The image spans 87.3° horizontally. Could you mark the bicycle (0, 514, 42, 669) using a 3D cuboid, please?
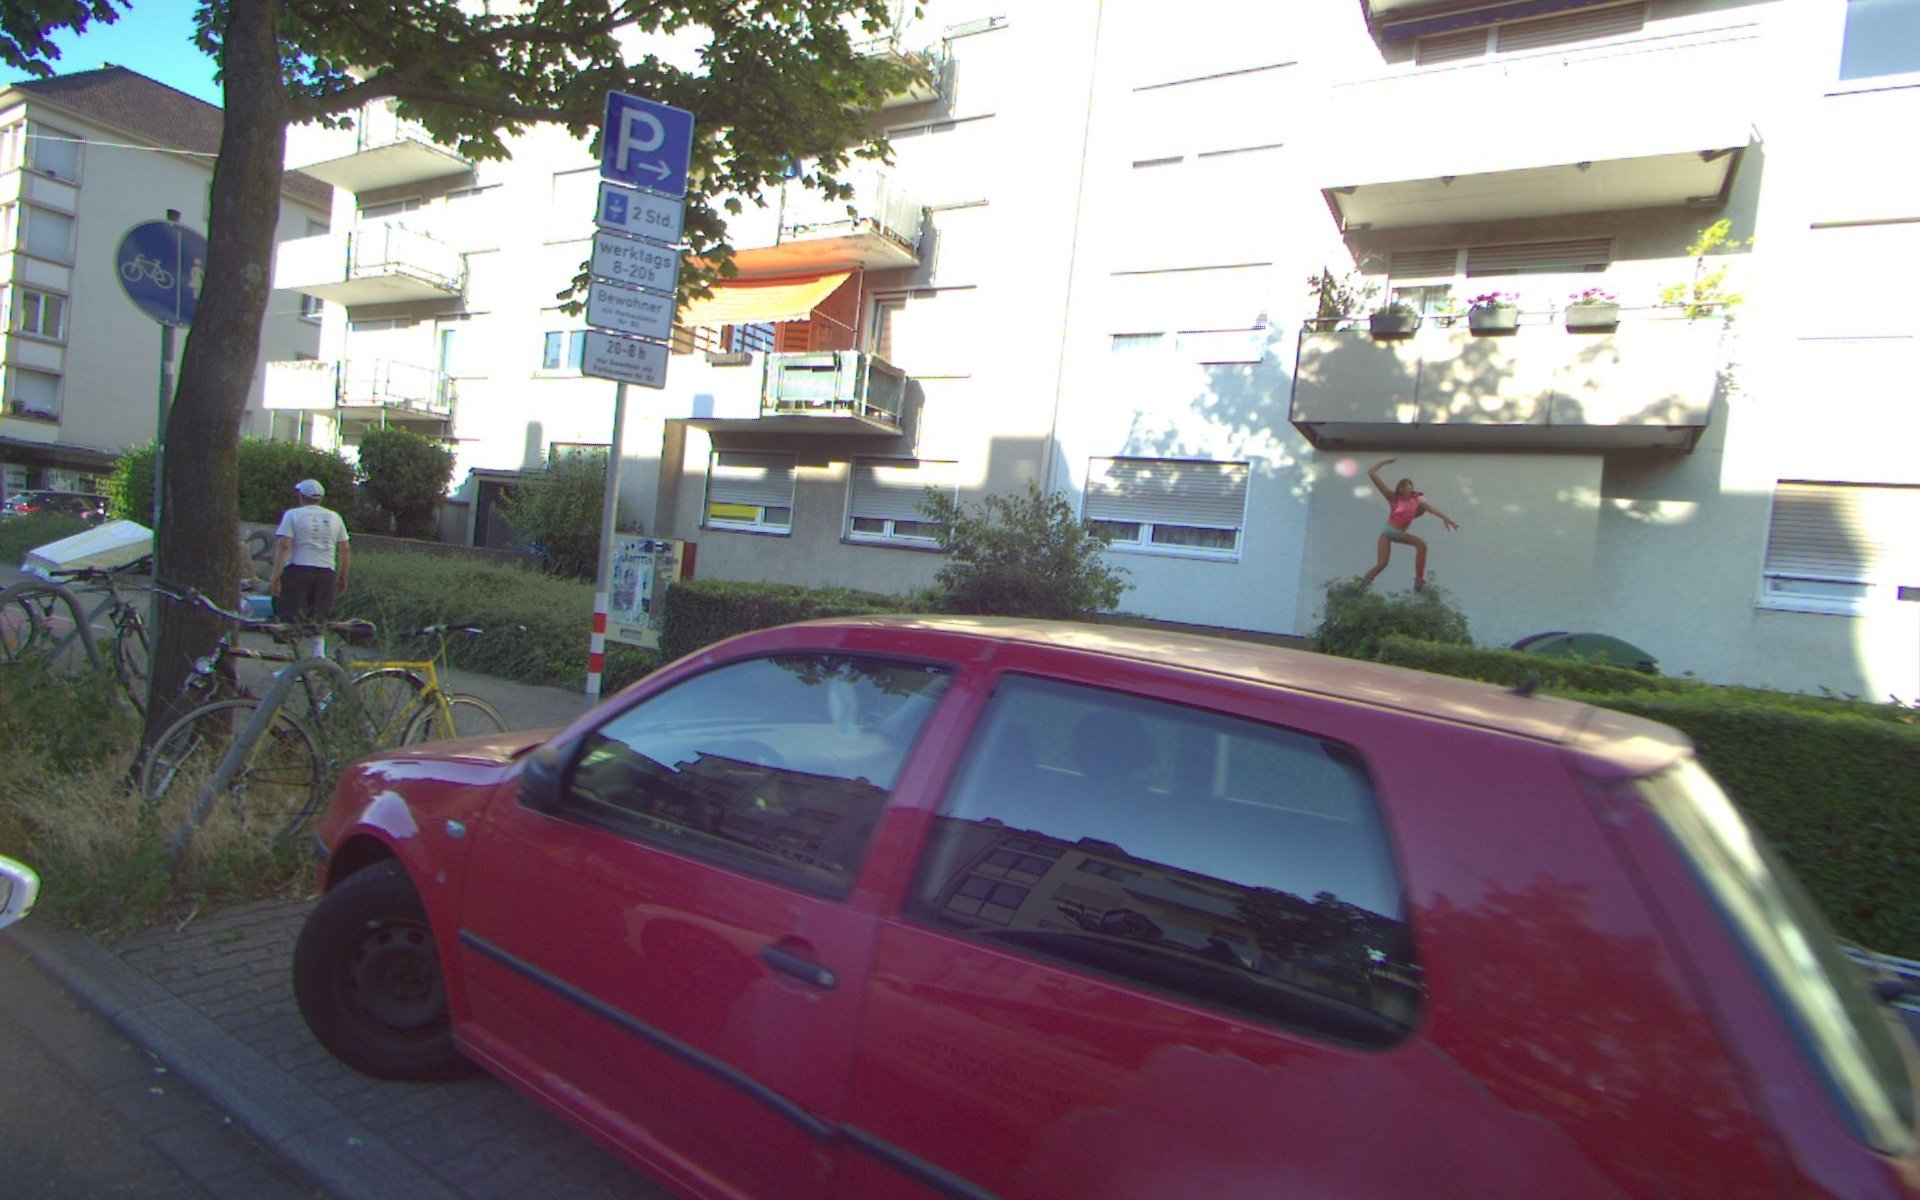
[{"bbox_3d":[-8.052,-0.101,7.389,0.673,1.173,1.831,7,3,37],"label":"bicycle"}]

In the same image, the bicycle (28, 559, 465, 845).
[{"bbox_3d":[-3.304,0.450,4.819,0.493,1.118,1.571,7,1,32],"label":"bicycle"}]

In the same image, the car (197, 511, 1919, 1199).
[{"bbox_3d":[-0.228,0.680,2.737,3.948,1.469,1.703,7,2,33],"label":"car"}]

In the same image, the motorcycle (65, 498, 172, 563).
[{"bbox_3d":[-21.322,-1.745,25.524,0.683,1.379,1.913,7,1,35],"label":"motorcycle"}]

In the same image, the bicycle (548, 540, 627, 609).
[{"bbox_3d":[-7.319,-0.510,19.746,1.766,1.198,0.356,7,2,32],"label":"bicycle"}]

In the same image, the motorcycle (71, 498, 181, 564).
[{"bbox_3d":[-20.650,-1.703,24.939,0.683,1.379,1.913,7,1,35],"label":"motorcycle"}]

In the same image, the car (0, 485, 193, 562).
[{"bbox_3d":[-24.021,-2.089,27.841,1.775,1.572,3.991,7,1,31],"label":"car"}]

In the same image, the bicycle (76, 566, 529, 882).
[{"bbox_3d":[-2.748,0.492,4.395,0.385,1.118,1.571,7,1,32],"label":"bicycle"}]

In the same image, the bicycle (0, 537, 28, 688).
[{"bbox_3d":[-6.892,0.096,6.731,0.614,1.065,1.560,5,1,-32],"label":"bicycle"}]

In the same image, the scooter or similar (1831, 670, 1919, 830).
[{"bbox_3d":[9.215,1.465,9.950,0.657,1.460,0.615,7,2,31],"label":"scooter or similar"}]

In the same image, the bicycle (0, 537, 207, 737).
[{"bbox_3d":[-5.600,0.206,5.994,0.509,1.123,1.684,7,3,37],"label":"bicycle"}]

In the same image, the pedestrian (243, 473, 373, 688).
[{"bbox_3d":[-5.708,-0.175,8.810,0.760,1.773,0.661,7,3,37],"label":"pedestrian"}]
